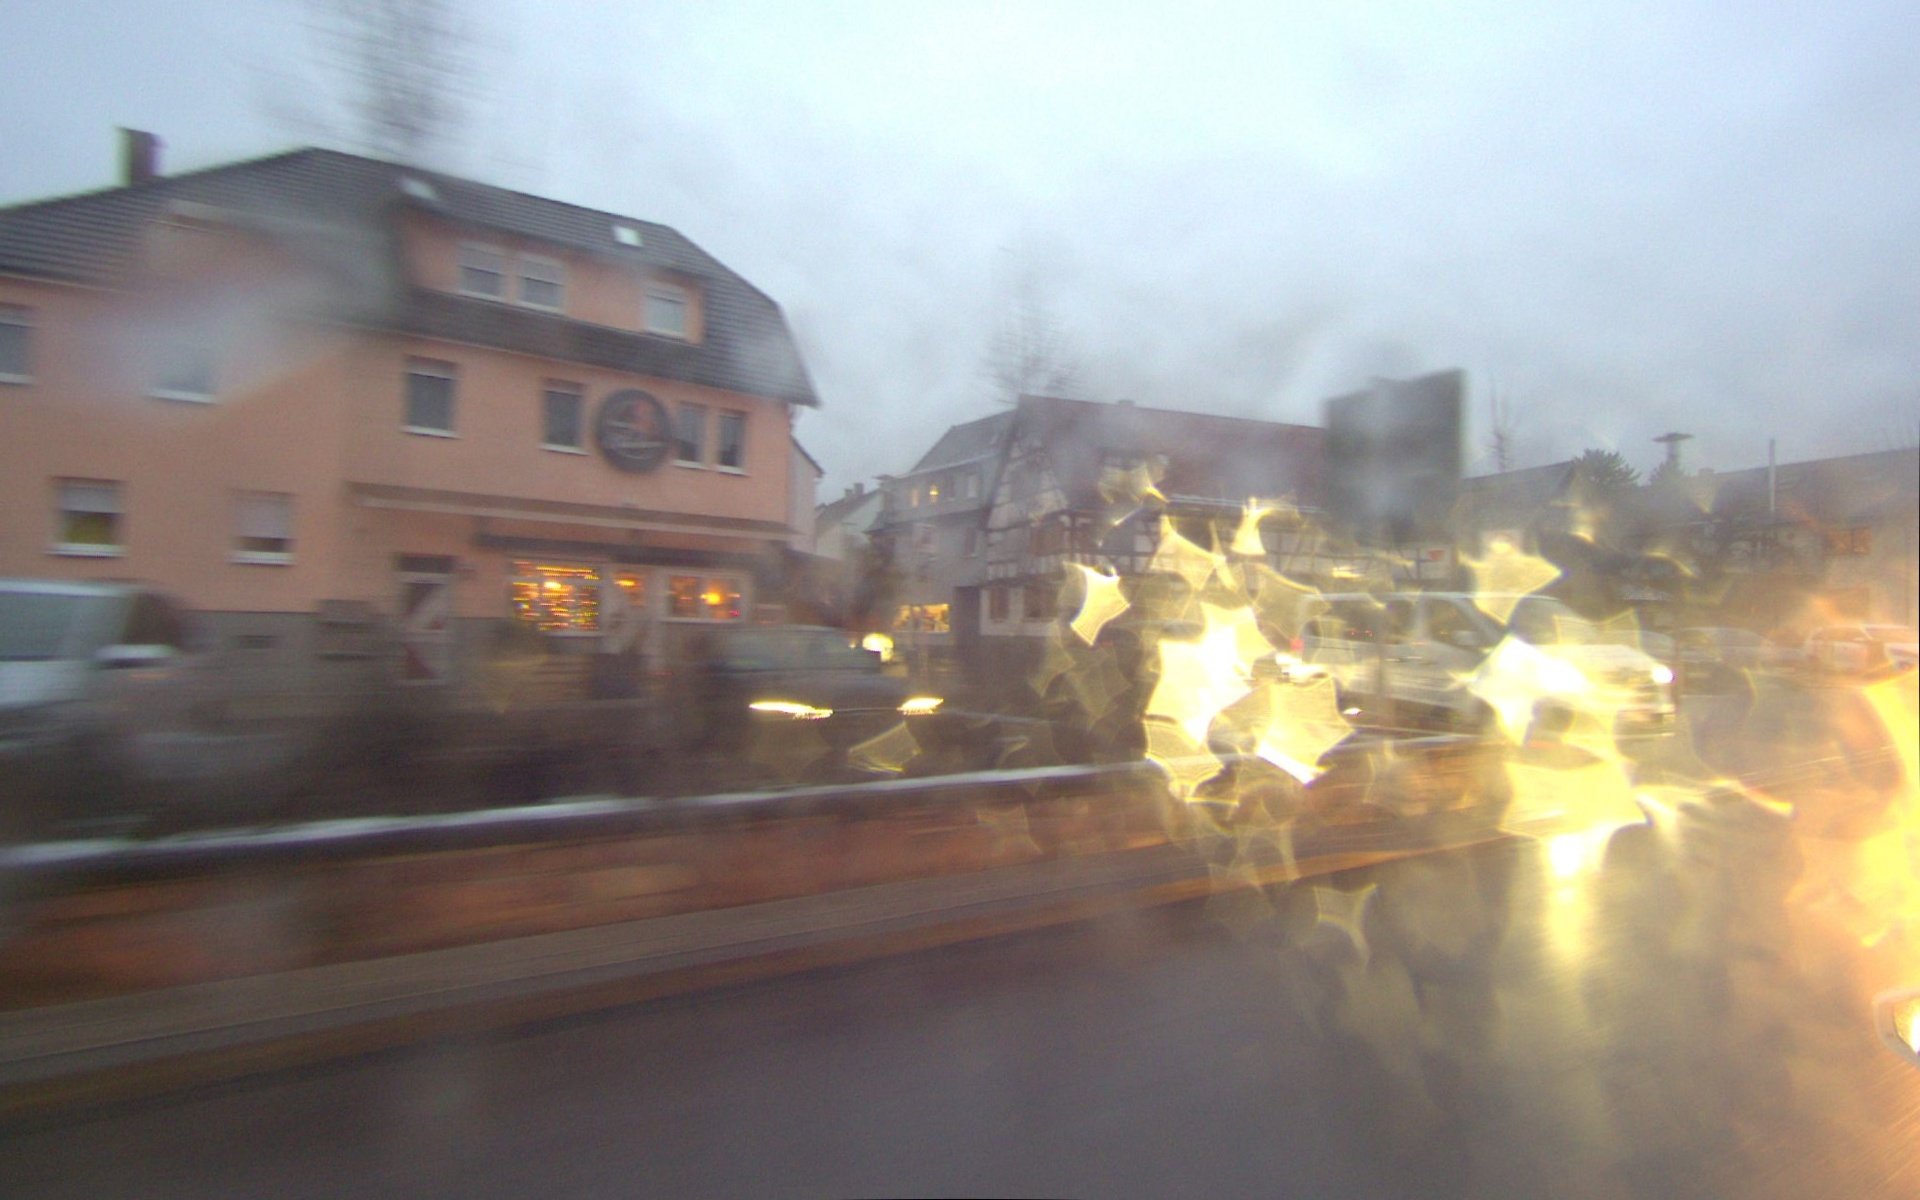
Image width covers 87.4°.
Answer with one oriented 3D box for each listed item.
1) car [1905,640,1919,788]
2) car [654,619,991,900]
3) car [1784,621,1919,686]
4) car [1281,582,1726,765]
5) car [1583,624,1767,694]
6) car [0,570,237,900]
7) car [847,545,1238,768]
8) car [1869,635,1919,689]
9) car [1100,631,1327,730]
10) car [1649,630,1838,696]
[{"bbox_3d":[11.755,1.135,10.592,3.794,1.499,1.612,0,-3,-31],"label":"car"},{"bbox_3d":[-1.505,1.270,9.342,1.729,1.976,4.011,0,-4,-30],"label":"car"},{"bbox_3d":[25.763,1.484,28.217,1.947,1.675,4.660,0,-2,9],"label":"car"},{"bbox_3d":[6.937,0.824,13.843,1.958,1.972,5.761,0,-1,-15],"label":"car"},{"bbox_3d":[16.547,1.353,23.501,1.727,1.478,3.937,-1,-3,6],"label":"car"},{"bbox_3d":[-6.714,0.790,7.020,1.974,1.706,4.848,0,-2,-27],"label":"car"},{"bbox_3d":[0.567,0.511,9.907,1.976,1.706,3.970,1,-2,-29],"label":"car"},{"bbox_3d":[29.099,1.818,29.423,1.686,1.603,4.118,0,-3,9],"label":"car"},{"bbox_3d":[4.770,1.538,19.763,1.969,1.657,4.750,-1,-3,-20],"label":"car"},{"bbox_3d":[19.192,1.509,24.870,1.722,1.478,4.077,0,-2,5],"label":"car"}]
